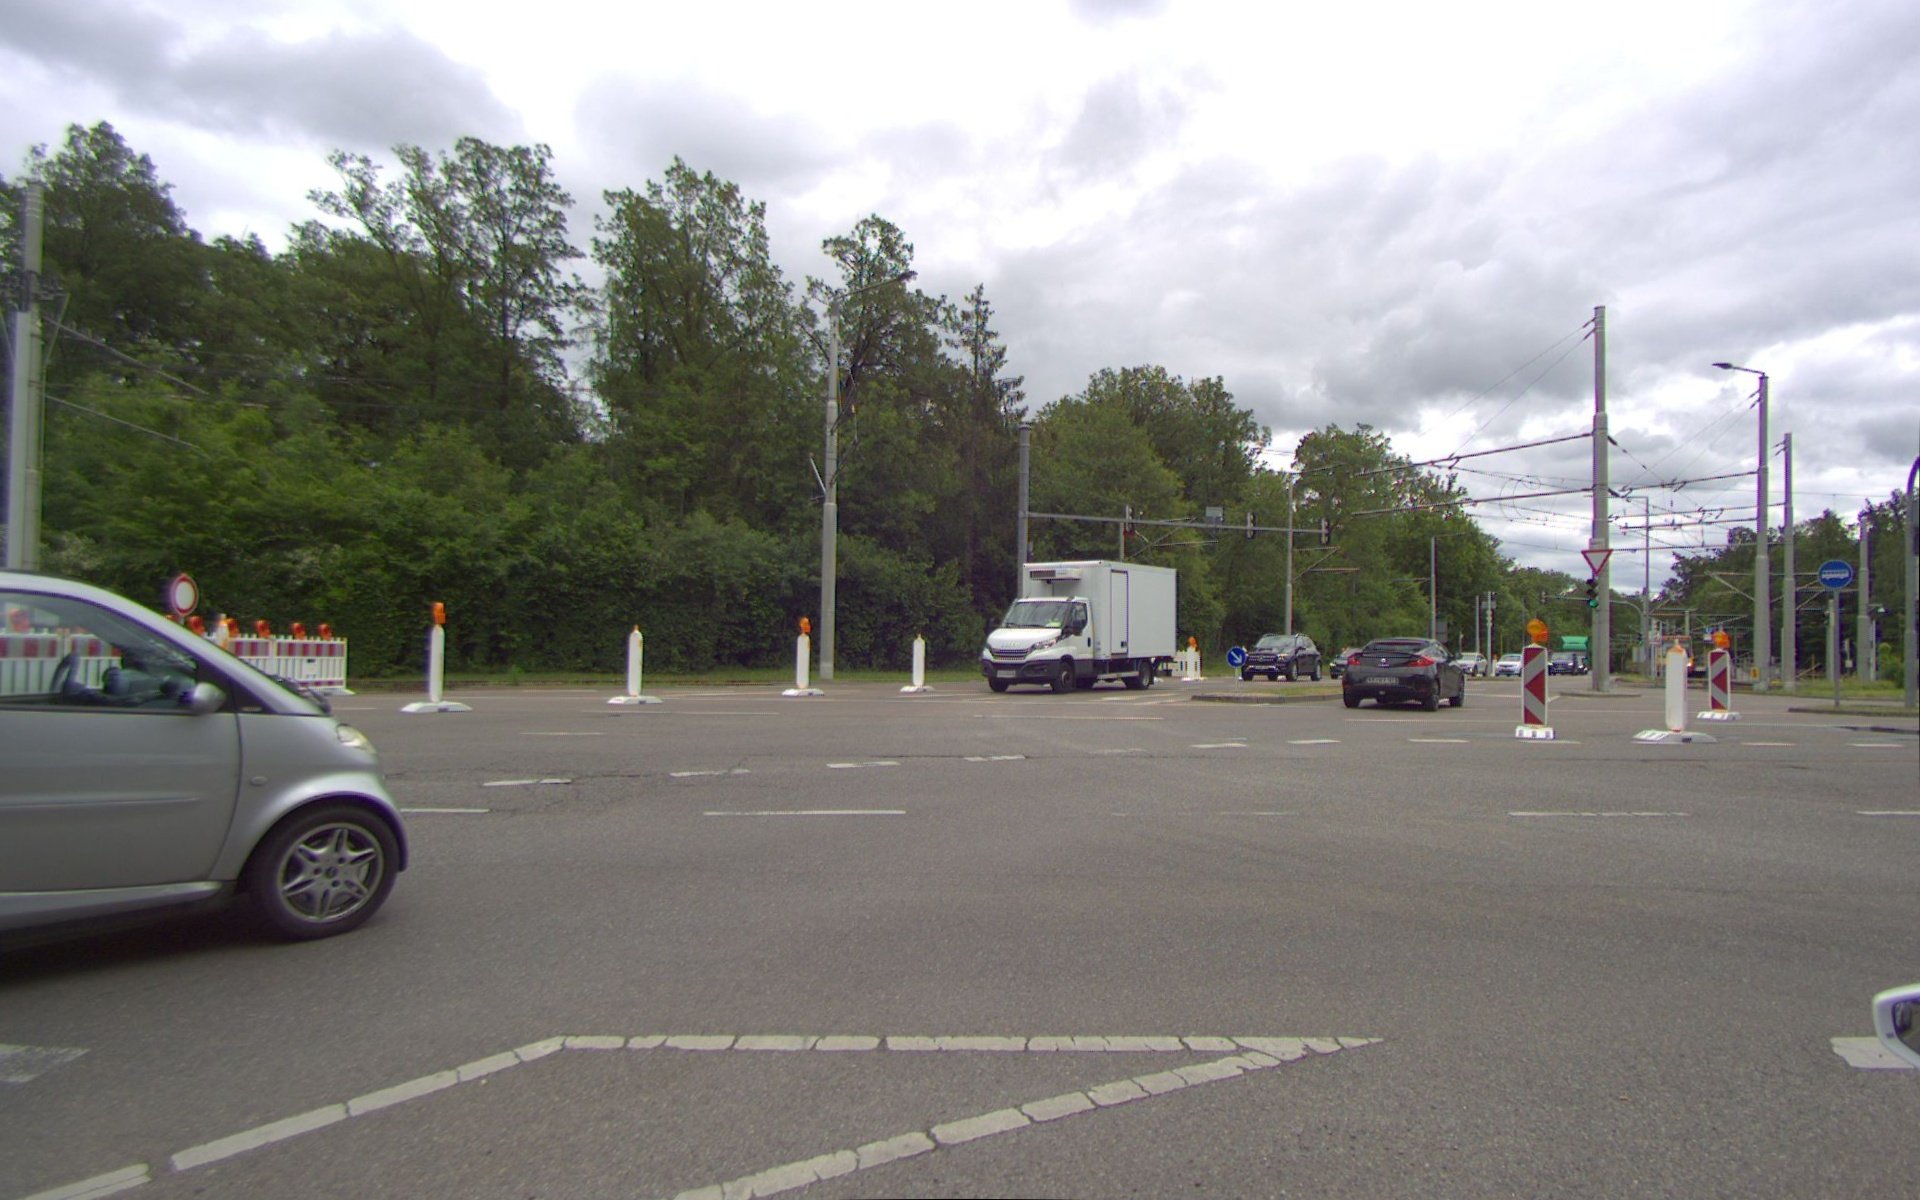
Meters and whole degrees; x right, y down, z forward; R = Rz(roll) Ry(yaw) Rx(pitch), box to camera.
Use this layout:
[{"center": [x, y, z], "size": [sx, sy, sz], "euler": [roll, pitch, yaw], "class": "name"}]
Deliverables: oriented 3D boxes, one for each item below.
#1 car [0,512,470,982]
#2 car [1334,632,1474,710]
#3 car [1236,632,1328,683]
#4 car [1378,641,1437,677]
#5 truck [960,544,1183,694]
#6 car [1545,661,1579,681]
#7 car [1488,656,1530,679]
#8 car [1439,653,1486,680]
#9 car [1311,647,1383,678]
[{"center": [-3.712, 0.531, 4.074], "size": [1.440, 1.607, 2.717], "euler": [-2, -4, 38], "class": "car"}, {"center": [8.835, 1.384, 19.861], "size": [1.752, 1.379, 3.463], "euler": [-2, -4, 38], "class": "car"}, {"center": [12.286, 2.175, 38.085], "size": [1.936, 1.773, 4.830], "euler": [-1, -3, 36], "class": "car"}, {"center": [24.885, 3.267, 55.762], "size": [1.938, 1.869, 4.671], "euler": [-1, -3, 38], "class": "car"}, {"center": [3.075, 0.628, 25.479], "size": [2.417, 3.266, 7.132], "euler": [-1, -4, 36], "class": "truck"}, {"center": [50.068, 5.865, 83.487], "size": [1.938, 1.560, 4.293], "euler": [-1, -3, 38], "class": "car"}, {"center": [38.903, 4.750, 71.164], "size": [1.938, 1.561, 4.379], "euler": [-1, -3, 38], "class": "car"}, {"center": [32.706, 4.293, 65.326], "size": [1.938, 1.628, 4.293], "euler": [-1, -3, 38], "class": "car"}, {"center": [18.468, 2.960, 47.846], "size": [1.938, 1.379, 4.671], "euler": [-1, -3, 38], "class": "car"}]
